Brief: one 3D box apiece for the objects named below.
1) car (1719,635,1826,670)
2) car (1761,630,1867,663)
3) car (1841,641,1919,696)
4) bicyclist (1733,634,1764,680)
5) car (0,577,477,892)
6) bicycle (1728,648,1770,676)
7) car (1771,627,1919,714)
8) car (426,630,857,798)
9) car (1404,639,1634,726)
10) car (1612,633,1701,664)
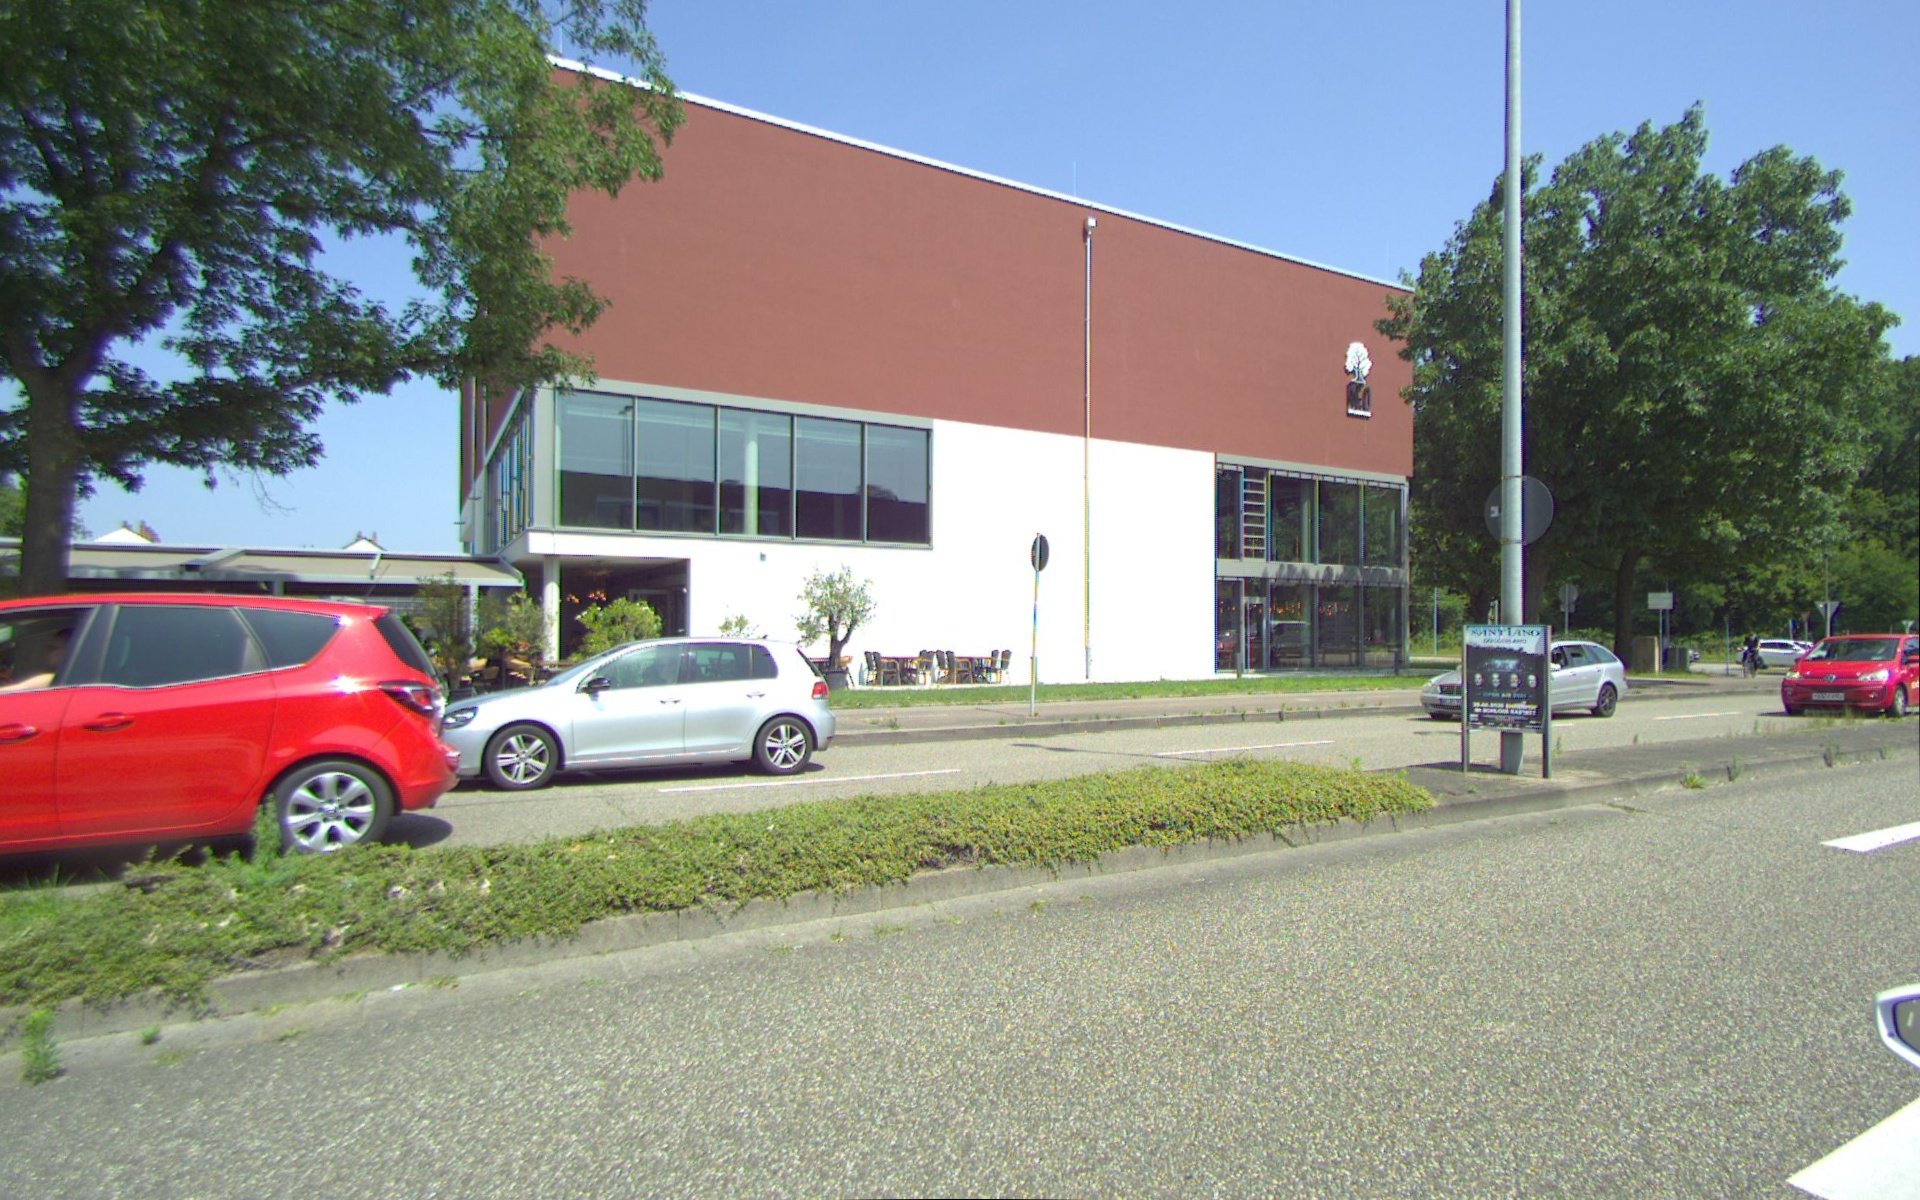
[{"bbox_3d":[45.433,2.881,56.262,1.793,1.704,4.340,2,0,-36],"label":"car"},{"bbox_3d":[49.380,2.709,58.157,1.793,1.703,4.342,2,-6,-36],"label":"car"},{"bbox_3d":[27.148,1.928,28.725,3.844,1.471,1.698,1,-4,-30],"label":"car"},{"bbox_3d":[31.328,2.250,39.901,0.916,1.793,0.646,1,-1,-29],"label":"bicyclist"},{"bbox_3d":[-5.177,0.731,5.911,4.103,1.590,1.742,1,-4,-30],"label":"car"},{"bbox_3d":[31.358,2.436,39.910,1.862,1.065,0.652,1,-1,-29],"label":"bicycle"},{"bbox_3d":[16.720,1.269,18.541,3.568,1.460,1.573,1,-4,-31],"label":"car"},{"bbox_3d":[-3.312,1.088,10.620,4.084,1.470,1.742,1,-4,-30],"label":"car"},{"bbox_3d":[10.394,1.478,18.621,4.309,1.422,1.769,1,-4,-31],"label":"car"},{"bbox_3d":[44.510,3.068,64.253,1.796,1.704,4.334,2,0,-39],"label":"car"}]
